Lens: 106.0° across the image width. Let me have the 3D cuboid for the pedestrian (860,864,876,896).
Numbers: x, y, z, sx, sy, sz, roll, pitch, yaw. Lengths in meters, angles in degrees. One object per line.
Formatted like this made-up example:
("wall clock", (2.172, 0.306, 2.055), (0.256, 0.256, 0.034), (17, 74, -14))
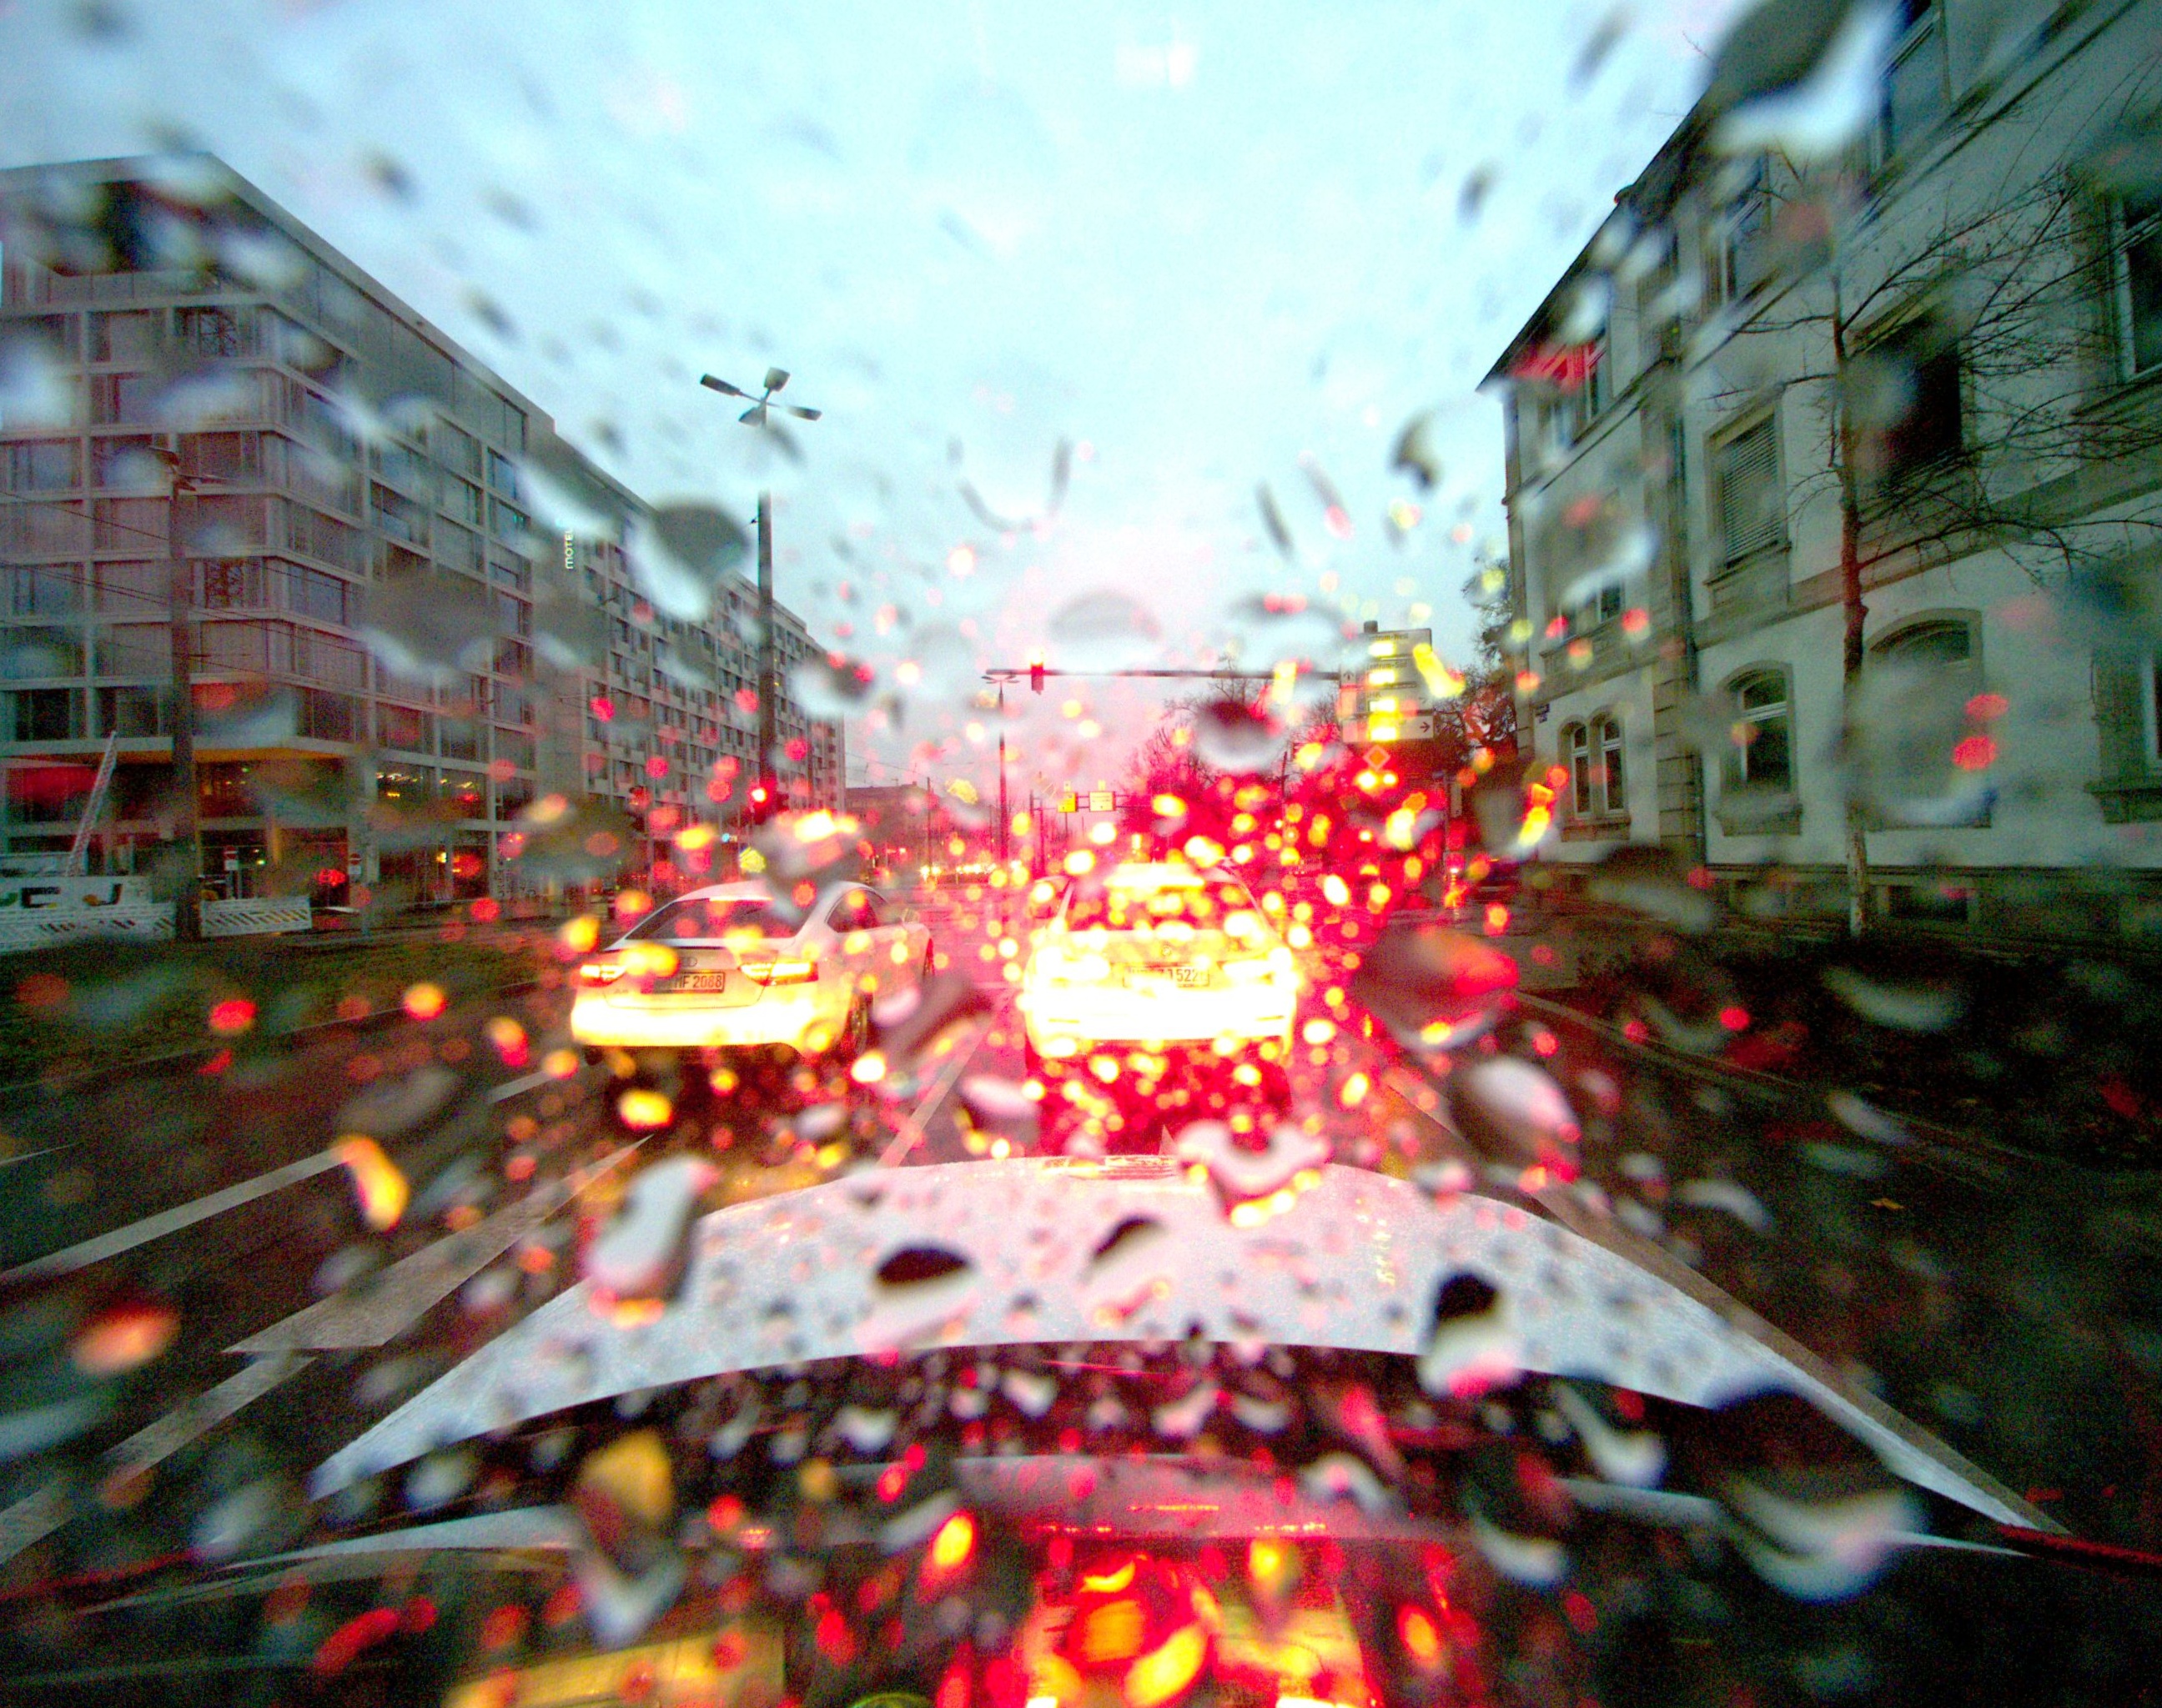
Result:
("pedestrian", (-11.716, 1.425, 44.786), (0.791, 1.712, 0.809), (0, -1, -13))

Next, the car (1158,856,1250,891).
("car", (5.690, 0.886, 37.674), (3.920, 1.554, 1.758), (0, -1, 22))

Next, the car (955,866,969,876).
("car", (-18.903, 2.723, 129.308), (1.669, 1.508, 3.697), (0, -1, 1))

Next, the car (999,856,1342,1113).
("car", (0.527, 0.762, 6.940), (1.987, 1.456, 4.367), (-1, 0, 0))

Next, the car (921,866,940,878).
("car", (-20.132, 2.384, 108.916), (1.669, 1.508, 3.697), (0, -1, 1))

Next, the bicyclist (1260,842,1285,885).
("bicyclist", (7.935, 0.405, 33.701), (0.965, 1.759, 0.816), (0, -1, 15))

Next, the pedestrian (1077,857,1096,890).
("pedestrian", (0.334, 1.124, 46.921), (0.896, 1.856, 0.816), (0, -1, 16))

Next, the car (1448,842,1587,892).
("car", (14.806, 0.444, 27.866), (3.954, 1.622, 1.727), (0, -1, 19))

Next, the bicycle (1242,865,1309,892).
("bicycle", (8.039, 1.000, 33.659), (2.646, 1.089, 0.818), (0, -1, 16))

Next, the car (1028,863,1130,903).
("car", (-0.056, 1.074, 31.086), (3.666, 1.478, 1.632), (0, -1, 9))

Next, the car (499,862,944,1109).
("car", (-2.596, 0.831, 7.233), (1.987, 1.456, 4.367), (-1, 0, 0))
